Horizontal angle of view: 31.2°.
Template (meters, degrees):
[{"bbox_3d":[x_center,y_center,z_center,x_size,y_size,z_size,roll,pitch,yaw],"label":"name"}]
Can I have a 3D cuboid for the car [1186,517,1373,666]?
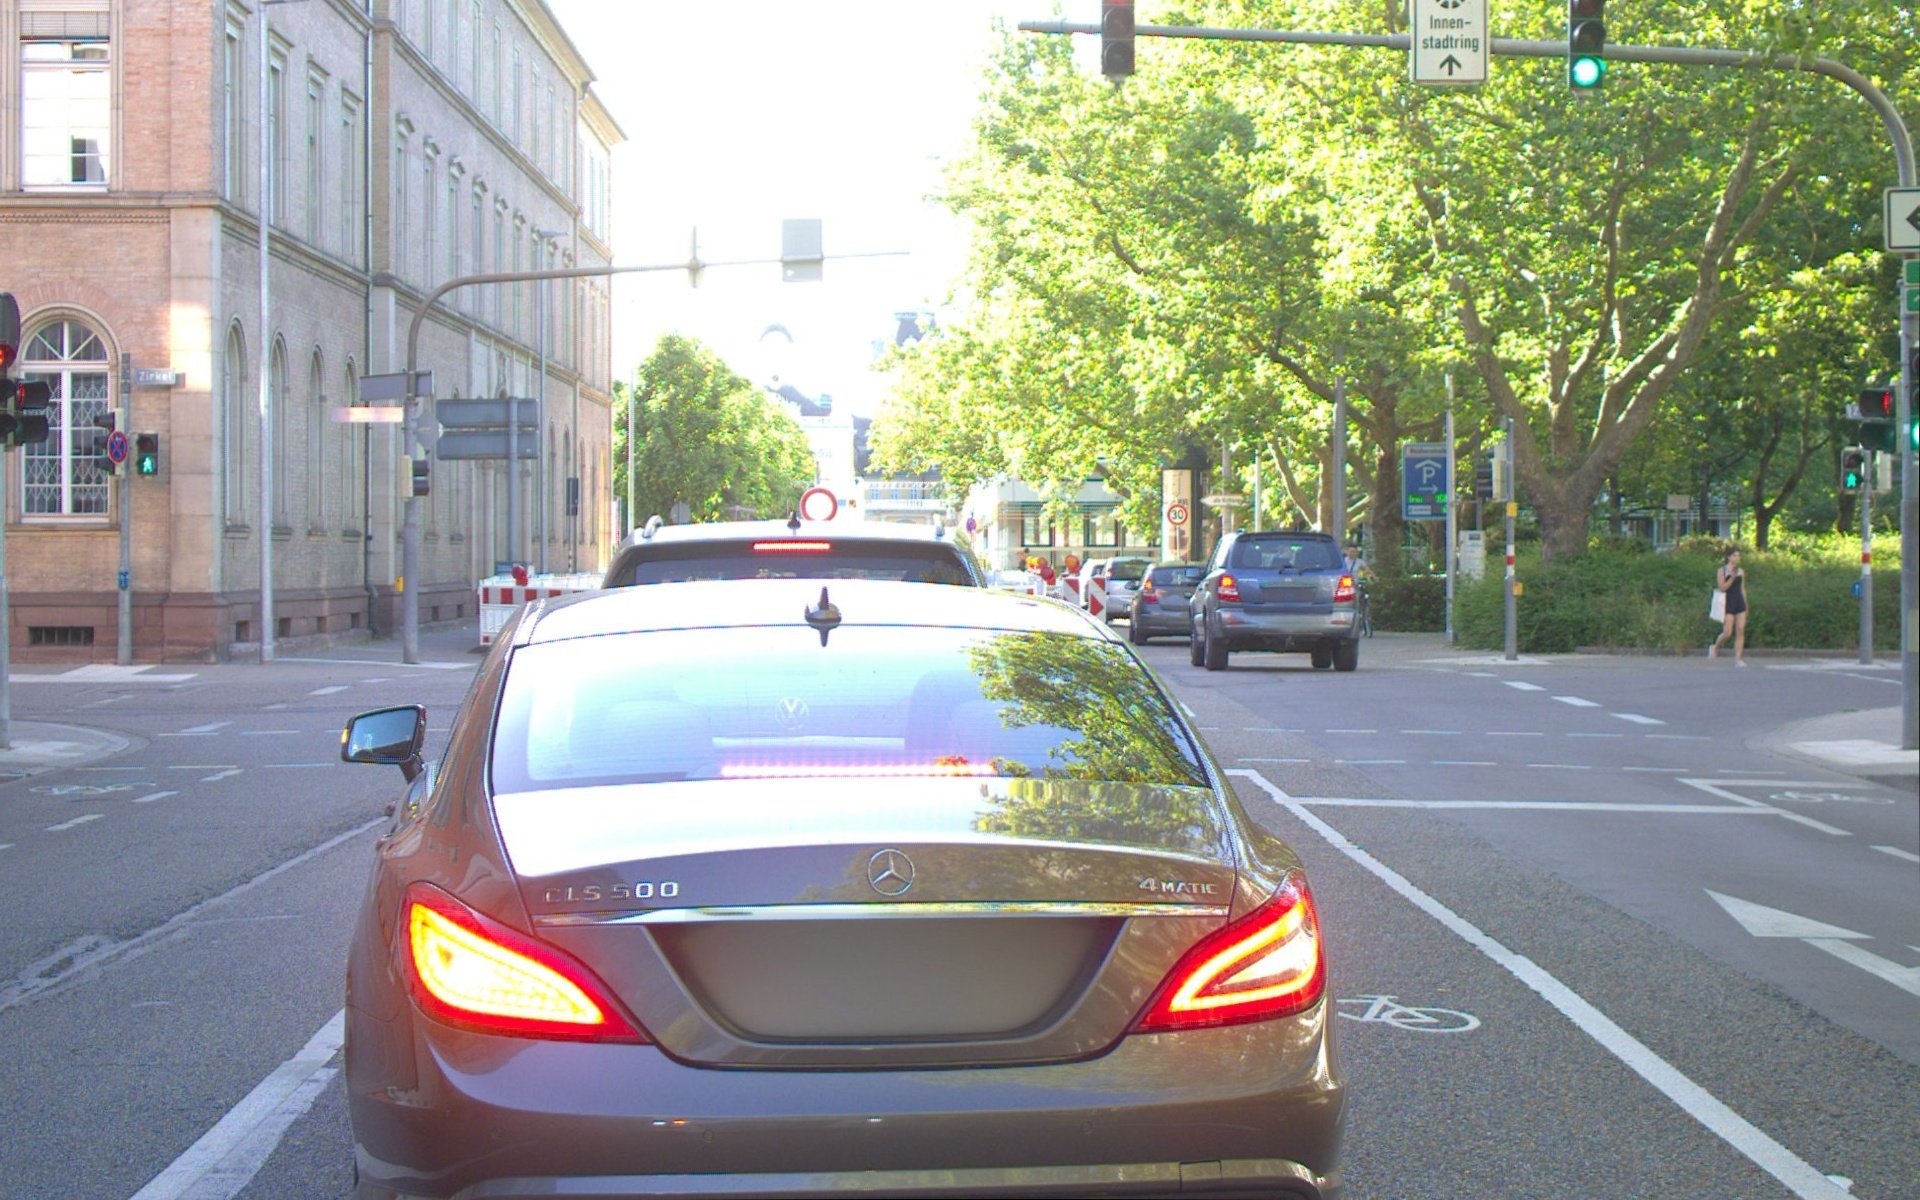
[{"bbox_3d":[3.956,-0.140,43.188,1.861,1.758,4.482,0,1,-1],"label":"car"}]

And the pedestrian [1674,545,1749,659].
[{"bbox_3d":[10.262,0.020,46.936,0.635,1.540,0.910,1,0,-15],"label":"pedestrian"}]

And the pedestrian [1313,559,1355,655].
[{"bbox_3d":[6.934,0.125,63.813,0.635,1.754,0.699,1,0,-4],"label":"pedestrian"}]

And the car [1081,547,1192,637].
[{"bbox_3d":[3.084,-0.163,60.712,1.704,1.514,4.000,0,1,-1],"label":"car"}]

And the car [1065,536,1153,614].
[{"bbox_3d":[3.272,-0.566,76.238,1.731,1.656,3.681,1,1,-1],"label":"car"}]

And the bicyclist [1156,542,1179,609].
[{"bbox_3d":[6.333,-0.745,105.119,0.594,2.032,0.566,1,0,-4],"label":"bicyclist"}]

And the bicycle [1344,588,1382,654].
[{"bbox_3d":[7.472,0.379,63.713,0.482,1.198,1.606,1,0,-1],"label":"bicycle"}]

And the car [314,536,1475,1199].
[{"bbox_3d":[-0.361,0.627,7.485,1.861,1.514,4.001,0,1,-8],"label":"car"}]

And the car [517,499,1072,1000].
[{"bbox_3d":[-0.581,0.473,13.615,1.861,1.677,4.000,0,1,-1],"label":"car"}]
